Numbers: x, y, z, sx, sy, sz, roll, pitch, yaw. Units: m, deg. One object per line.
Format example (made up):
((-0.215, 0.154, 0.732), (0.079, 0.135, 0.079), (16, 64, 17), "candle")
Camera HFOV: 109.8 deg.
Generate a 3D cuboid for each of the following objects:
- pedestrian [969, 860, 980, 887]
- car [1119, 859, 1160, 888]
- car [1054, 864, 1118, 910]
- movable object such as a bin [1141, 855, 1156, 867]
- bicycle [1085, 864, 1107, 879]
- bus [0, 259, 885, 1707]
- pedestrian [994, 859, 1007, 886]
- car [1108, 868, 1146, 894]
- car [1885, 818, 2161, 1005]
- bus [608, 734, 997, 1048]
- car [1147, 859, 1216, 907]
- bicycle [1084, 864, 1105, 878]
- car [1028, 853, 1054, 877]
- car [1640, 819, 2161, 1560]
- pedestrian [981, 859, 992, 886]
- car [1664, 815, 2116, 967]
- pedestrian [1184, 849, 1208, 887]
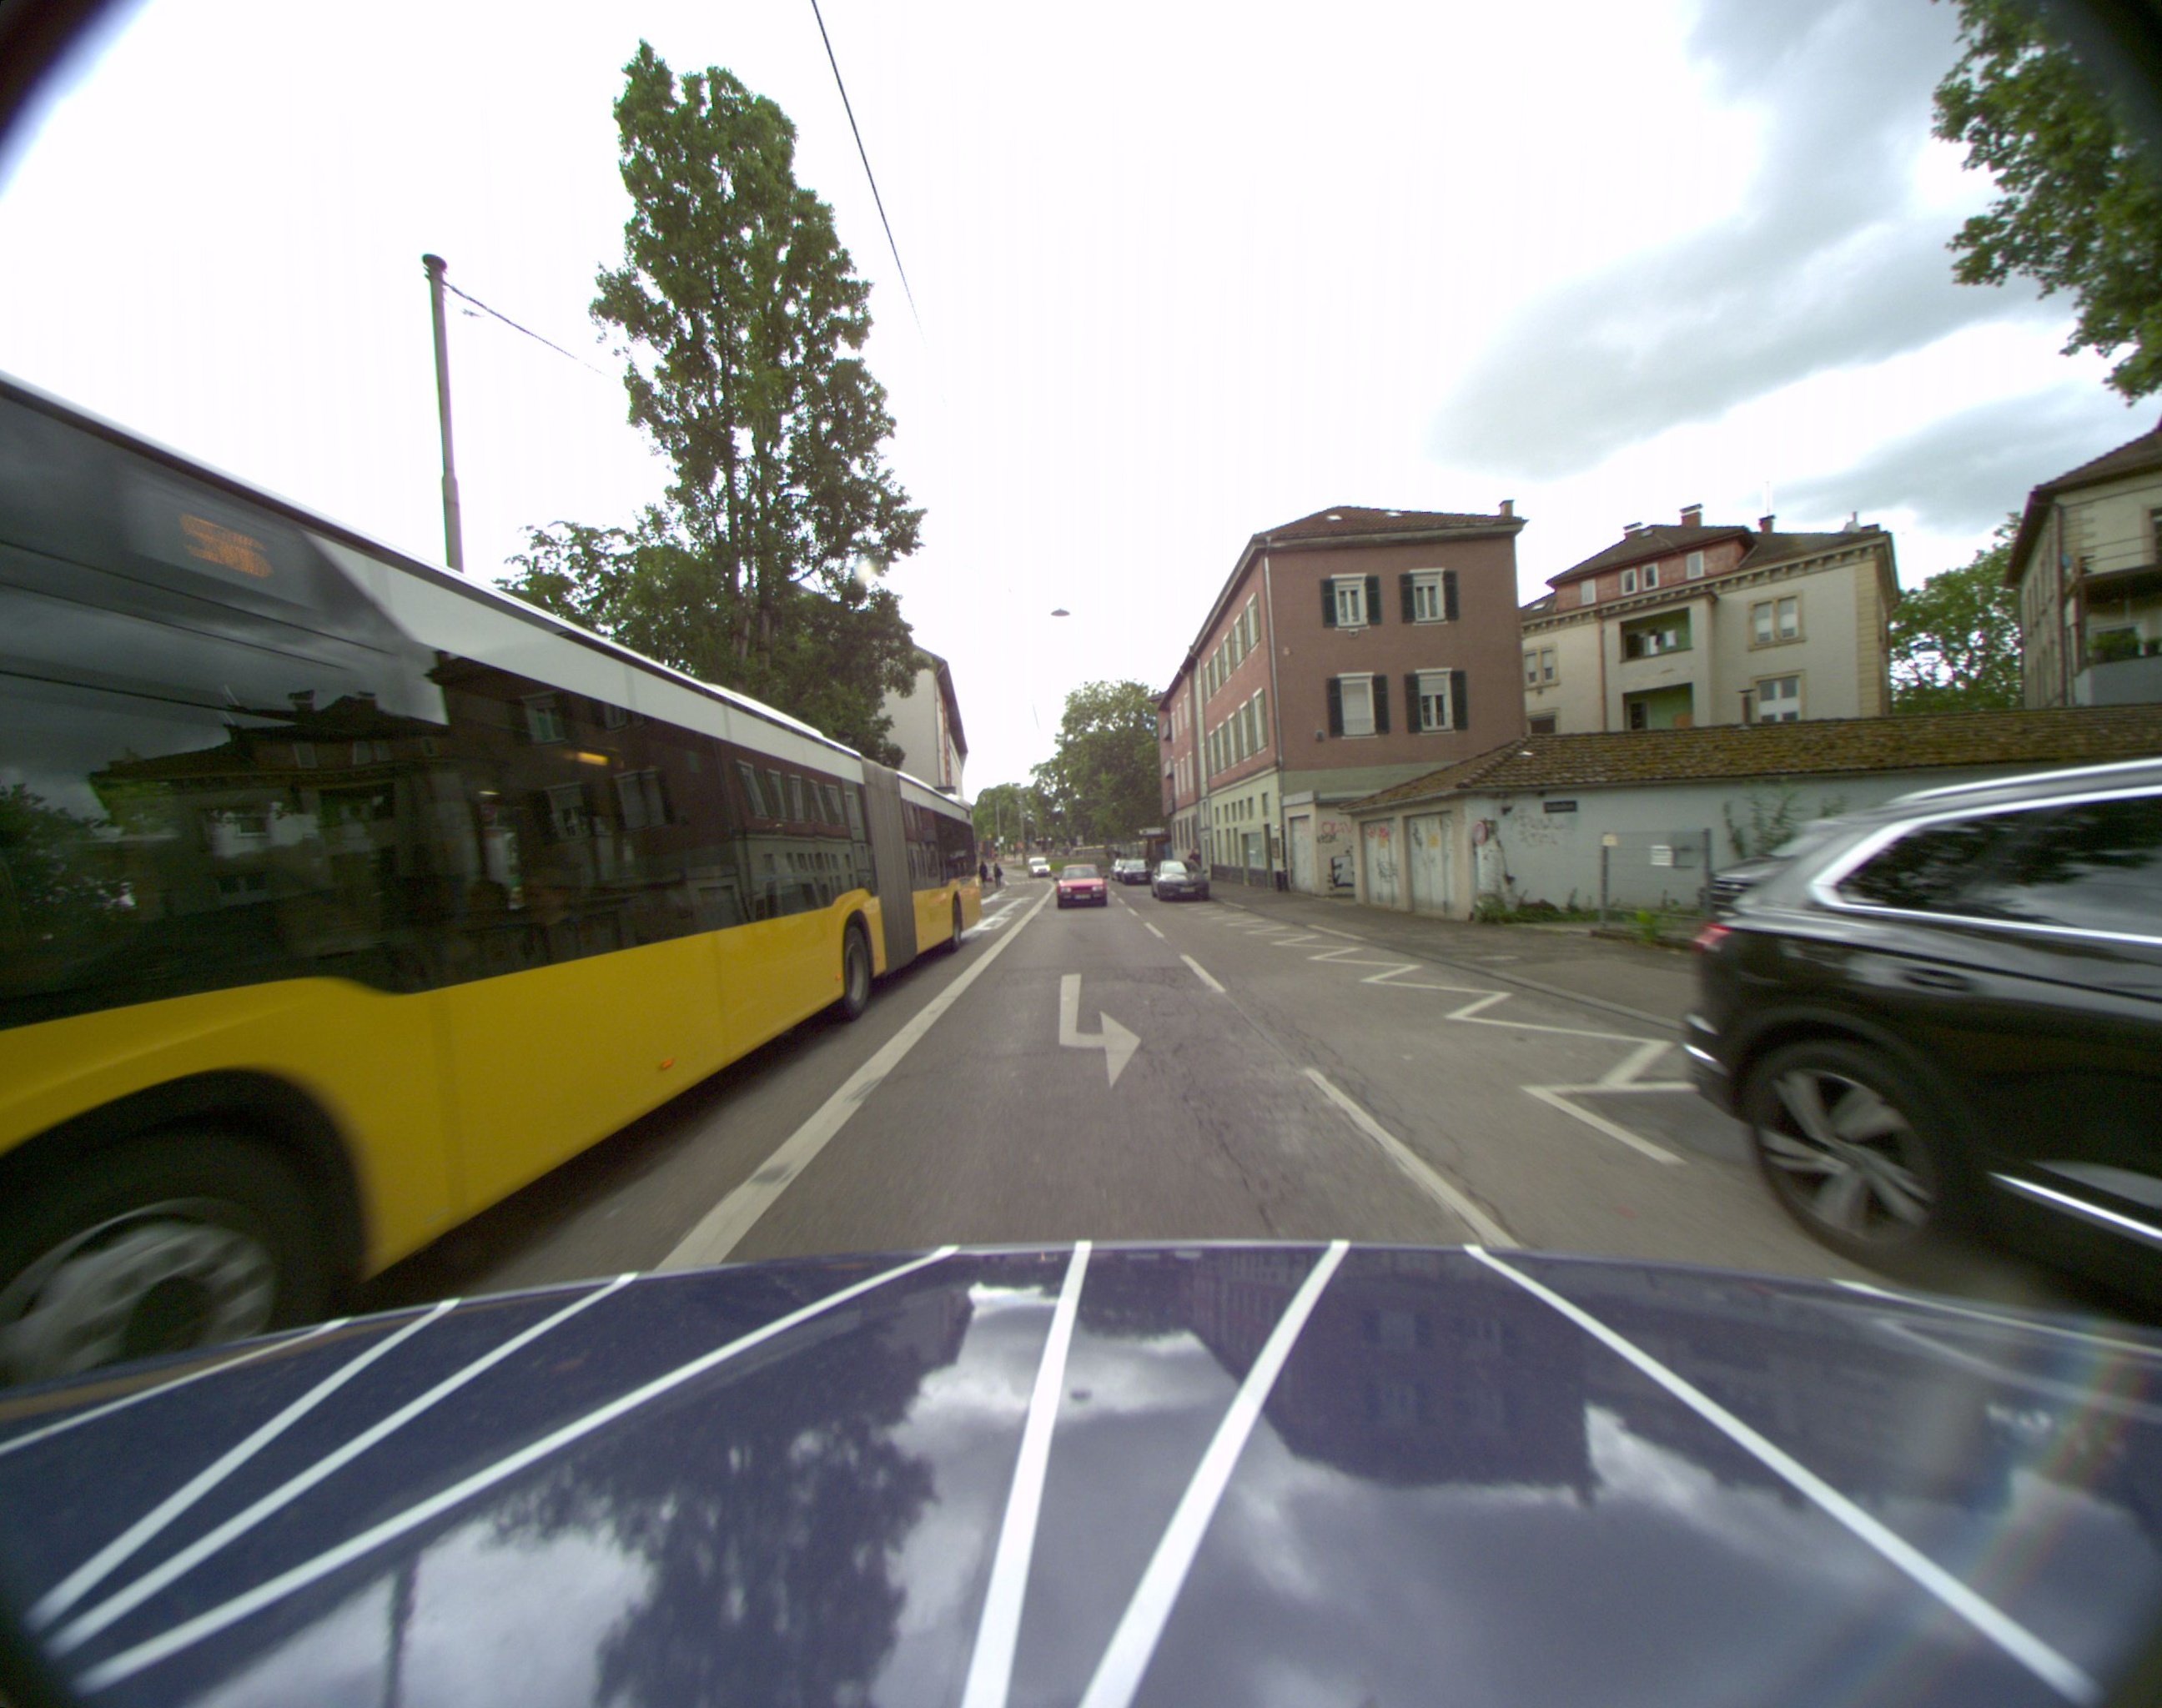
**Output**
((-7.022, 1.306, 50.077), (0.543, 1.746, 0.609), (-1, -1, 6), "pedestrian")
((3.383, 1.123, 44.666), (1.834, 1.446, 4.920), (-3, 0, -2), "car")
((0.093, 1.106, 26.381), (1.851, 1.414, 4.172), (-2, -1, -4), "car")
((6.209, 0.657, 69.663), (0.674, 0.959, 1.077), (-9, 2, -44), "movable object such as a bin")
((1.385, 1.609, 69.402), (1.809, 1.169, 0.723), (-6, 1, -25), "bicycle")
((-3.618, 0.344, 3.511), (2.678, 3.120, 9.218), (-5, 0, 1), "bus")
((-5.290, 1.228, 50.108), (0.805, 1.783, 0.942), (-1, -1, -6), "pedestrian")
((2.993, 1.770, 50.199), (1.834, 1.446, 4.582), (-3, 0, -4), "car")
((10.128, 0.443, 7.270), (2.854, 1.556, 1.853), (-2, 0, 1), "car")
((-3.539, 0.443, 13.156), (2.669, 3.117, 10.041), (-5, -1, 1), "bus")
((3.643, 1.014, 28.176), (1.883, 1.477, 4.127), (-5, -1, 0), "car")
((1.265, 1.603, 70.532), (1.875, 1.107, 0.577), (-6, 1, -4), "bicycle")
((-3.771, 0.962, 71.319), (2.073, 1.776, 4.453), (-6, 3, -5), "car")
((3.486, 0.742, 0.964), (1.959, 1.723, 4.774), (-4, -1, 0), "car")
((-6.232, 1.242, 50.052), (0.689, 1.746, 0.878), (-1, -1, -6), "pedestrian")
((10.092, 0.441, 9.743), (3.772, 1.633, 1.853), (-2, 0, 1), "car")
((5.507, 0.674, 36.435), (0.763, 1.733, 0.985), (-5, -1, -2), "pedestrian")
